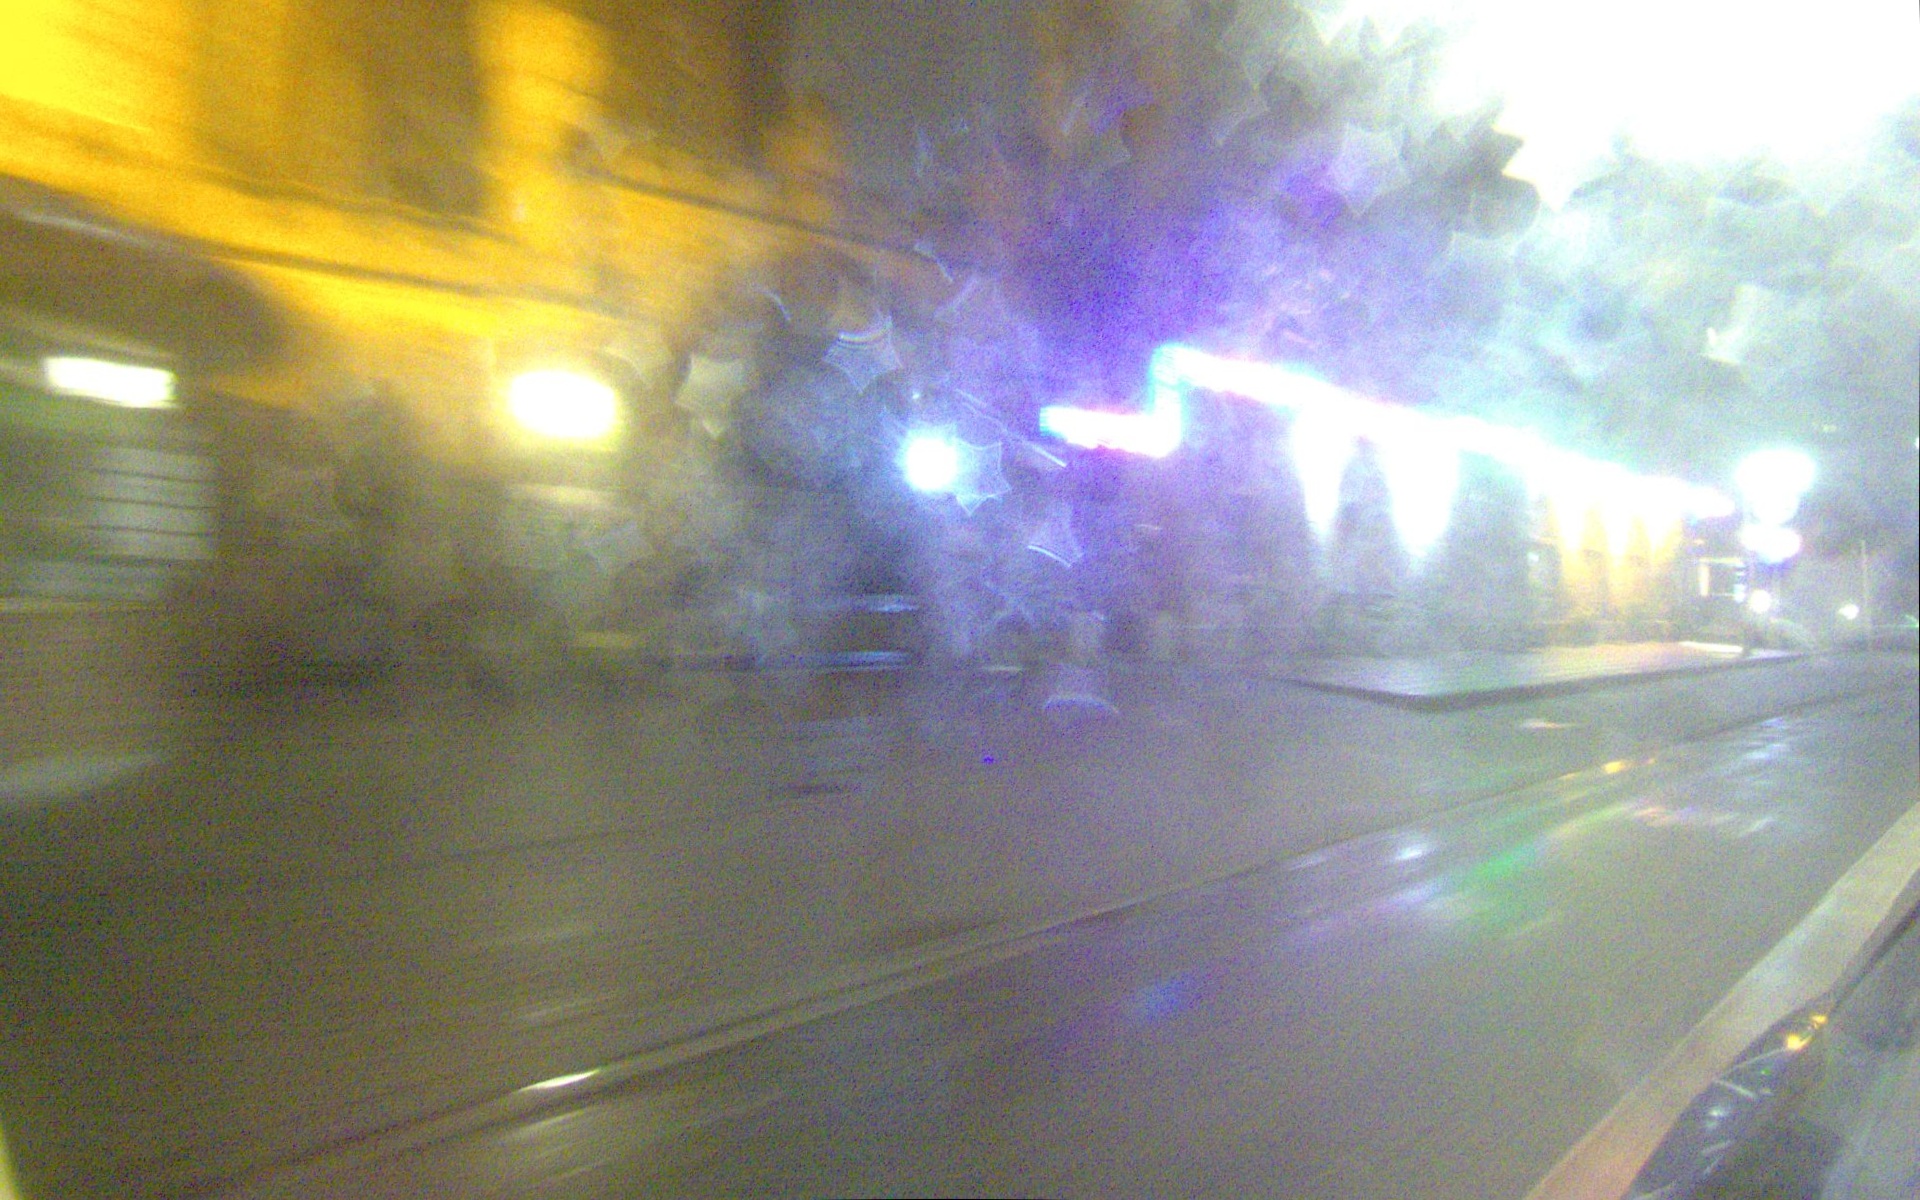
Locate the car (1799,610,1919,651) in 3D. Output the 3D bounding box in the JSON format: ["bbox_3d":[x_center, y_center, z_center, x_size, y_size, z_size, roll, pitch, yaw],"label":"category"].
[{"bbox_3d":[37.012,1.220,41.170,4.062,1.556,1.944,0,0,25],"label":"car"}]

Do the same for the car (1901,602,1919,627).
[{"bbox_3d":[61.560,0.956,63.306,3.677,1.537,1.640,2,1,32],"label":"car"}]
